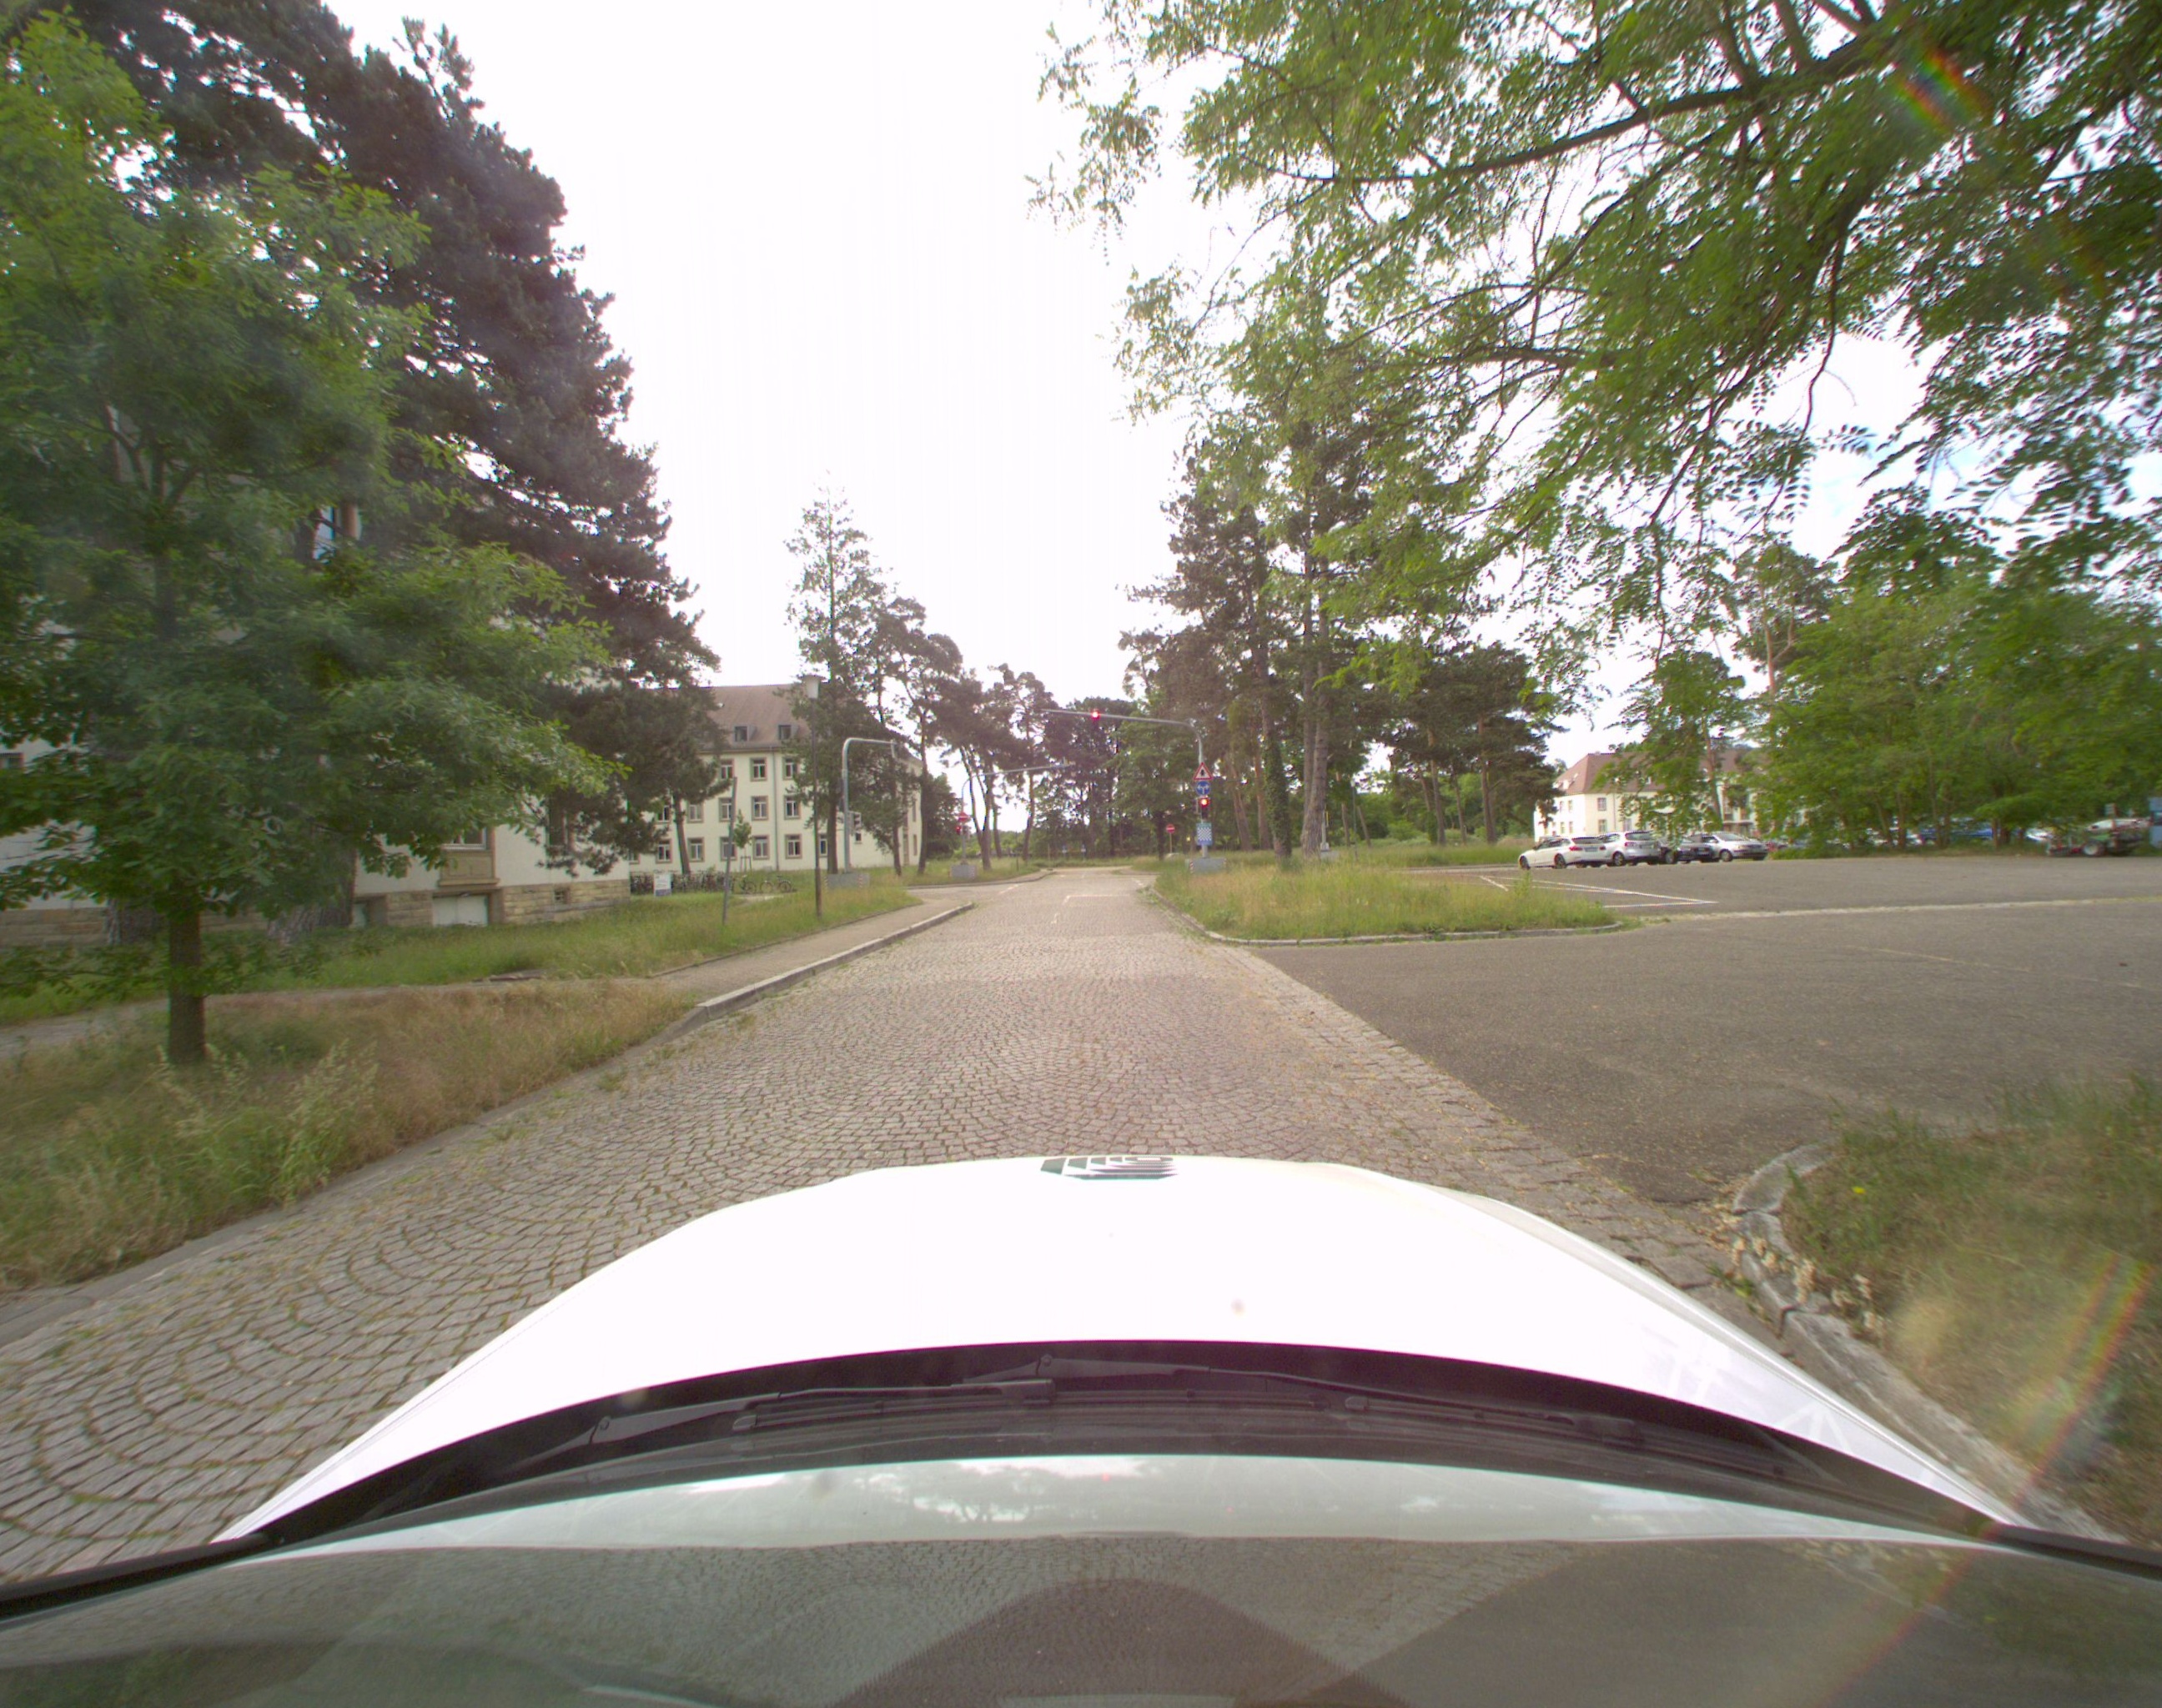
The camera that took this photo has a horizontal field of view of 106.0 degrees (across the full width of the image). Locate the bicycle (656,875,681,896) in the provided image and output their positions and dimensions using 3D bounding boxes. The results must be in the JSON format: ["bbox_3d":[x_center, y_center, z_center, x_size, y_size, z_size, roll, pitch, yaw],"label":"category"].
[{"bbox_3d":[-22.463,1.702,44.355,0.512,1.079,1.586,-3,0,1],"label":"bicycle"}]

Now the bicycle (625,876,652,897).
[{"bbox_3d":[-24.095,1.766,44.338,0.512,1.079,1.586,-3,0,1],"label":"bicycle"}]

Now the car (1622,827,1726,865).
[{"bbox_3d":[27.014,-0.311,37.293,1.694,1.485,4.245,-2,-3,2],"label":"car"}]

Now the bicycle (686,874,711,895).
[{"bbox_3d":[-20.849,1.654,44.420,0.512,1.079,1.586,-3,0,1],"label":"bicycle"}]

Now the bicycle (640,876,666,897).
[{"bbox_3d":[-23.299,1.742,44.339,0.512,1.079,1.586,-3,0,1],"label":"bicycle"}]

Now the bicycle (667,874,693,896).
[{"bbox_3d":[-21.841,1.674,44.377,0.512,1.079,1.586,-3,0,1],"label":"bicycle"}]

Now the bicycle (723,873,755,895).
[{"bbox_3d":[-18.070,1.590,43.036,1.460,1.079,0.516,-3,0,-2],"label":"bicycle"}]

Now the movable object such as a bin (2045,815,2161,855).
[{"bbox_3d":[30.704,-0.540,24.393,0.959,1.134,2.207,0,0,-8],"label":"movable object such as a bin"}]

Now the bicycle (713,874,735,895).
[{"bbox_3d":[-19.468,1.641,44.417,0.513,1.079,1.584,-3,0,-2],"label":"bicycle"}]

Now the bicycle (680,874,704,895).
[{"bbox_3d":[-21.210,1.657,44.424,0.512,1.079,1.586,-3,0,1],"label":"bicycle"}]

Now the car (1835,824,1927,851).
[{"bbox_3d":[47.380,-0.958,48.354,1.608,1.501,4.251,-2,0,6],"label":"car"}]

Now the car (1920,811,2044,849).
[{"bbox_3d":[52.802,-1.363,47.887,2.127,2.026,4.794,-2,0,2],"label":"car"}]

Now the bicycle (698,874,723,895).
[{"bbox_3d":[-20.146,1.647,44.328,0.512,1.079,1.587,-3,0,4],"label":"bicycle"}]

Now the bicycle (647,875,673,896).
[{"bbox_3d":[-22.914,1.709,44.347,0.512,1.079,1.586,-3,0,1],"label":"bicycle"}]

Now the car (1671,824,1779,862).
[{"bbox_3d":[29.753,-0.468,37.778,1.694,1.485,4.245,-2,-3,2],"label":"car"}]

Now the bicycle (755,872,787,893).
[{"bbox_3d":[-16.434,1.501,43.205,1.460,1.065,0.516,-3,0,-2],"label":"bicycle"}]

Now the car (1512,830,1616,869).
[{"bbox_3d":[21.749,-0.152,36.887,1.843,1.487,4.605,-1,-3,-2],"label":"car"}]

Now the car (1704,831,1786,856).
[{"bbox_3d":[39.101,-0.597,48.081,1.725,1.390,4.251,-2,0,6],"label":"car"}]

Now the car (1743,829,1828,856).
[{"bbox_3d":[41.721,-0.683,48.373,1.725,1.472,4.251,-2,0,6],"label":"car"}]

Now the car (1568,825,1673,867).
[{"bbox_3d":[24.384,-0.305,36.998,1.777,1.605,4.239,-2,-3,-2],"label":"car"}]
